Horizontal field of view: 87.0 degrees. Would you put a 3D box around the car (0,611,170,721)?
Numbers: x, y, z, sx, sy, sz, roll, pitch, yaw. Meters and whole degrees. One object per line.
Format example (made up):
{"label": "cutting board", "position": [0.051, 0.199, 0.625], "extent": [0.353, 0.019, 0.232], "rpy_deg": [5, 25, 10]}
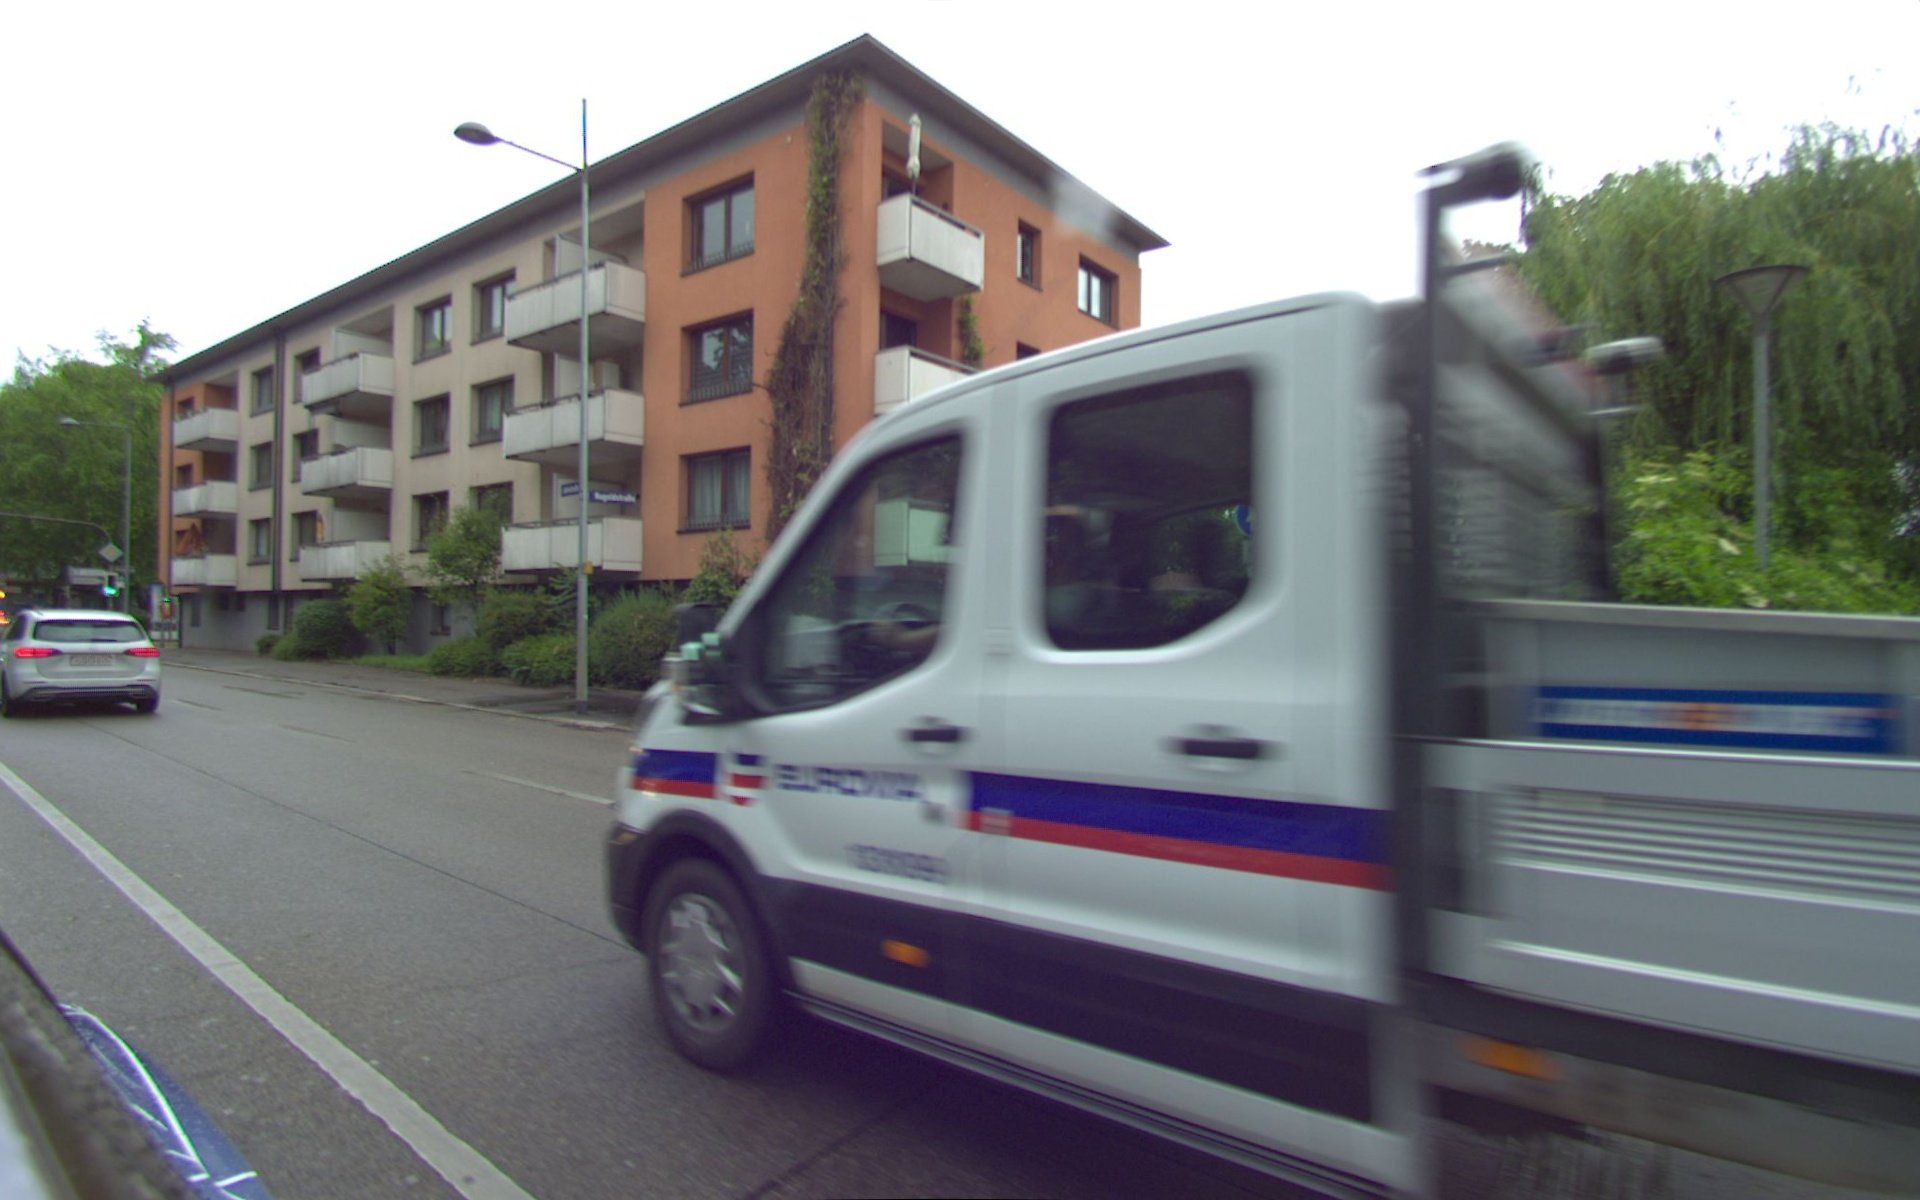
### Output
{"label": "car", "position": [-13.887, 0.971, 15.700], "extent": [4.164, 1.485, 1.763], "rpy_deg": [-1, -3, 41]}

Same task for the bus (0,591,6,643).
{"label": "bus", "position": [-60.216, 0.914, 61.030], "extent": [12.078, 2.962, 2.665], "rpy_deg": [0, -2, 41]}

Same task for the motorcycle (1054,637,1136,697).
{"label": "motorcycle", "position": [3.051, 1.486, 22.721], "extent": [0.780, 1.273, 2.371], "rpy_deg": [-2, -4, 36]}

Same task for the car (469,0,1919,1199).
{"label": "car", "position": [1.304, 0.333, 2.703], "extent": [6.505, 2.326, 2.266], "rpy_deg": [-1, -3, 41]}
